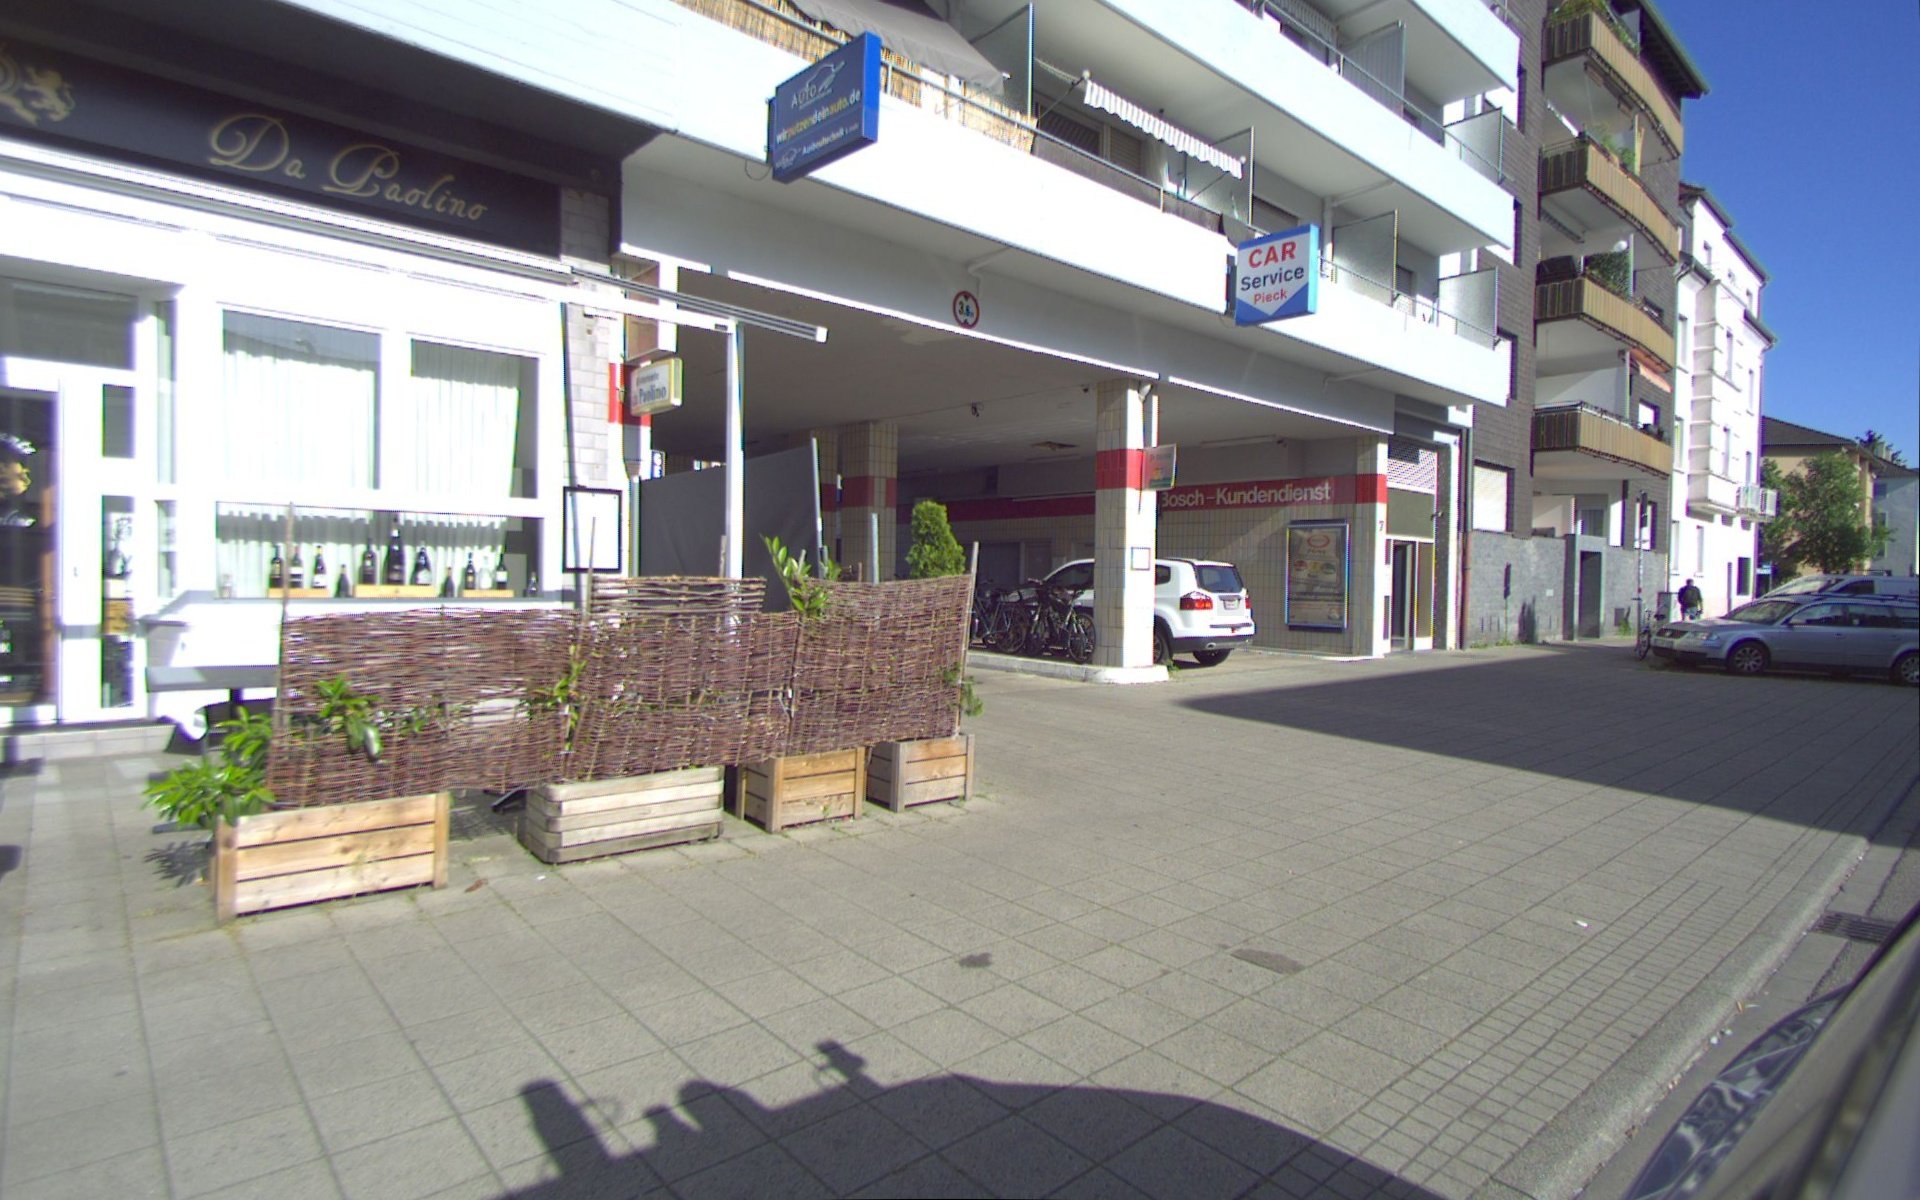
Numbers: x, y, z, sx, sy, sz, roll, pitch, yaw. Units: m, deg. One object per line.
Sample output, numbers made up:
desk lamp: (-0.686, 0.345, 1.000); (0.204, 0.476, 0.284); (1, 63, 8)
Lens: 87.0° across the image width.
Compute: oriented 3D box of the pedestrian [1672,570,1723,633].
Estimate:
pedestrian: (19.493, 0.022, 26.759); (0.872, 1.613, 0.835); (0, 2, -37)

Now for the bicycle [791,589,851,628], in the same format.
bicycle: (-2.542, 0.152, 18.560); (1.060, 0.673, 0.323); (0, 2, -40)

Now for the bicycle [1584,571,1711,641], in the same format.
bicycle: (13.315, 0.118, 19.608); (2.214, 1.270, 0.708); (2, 0, -14)

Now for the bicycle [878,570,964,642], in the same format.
bicycle: (-0.657, 0.070, 16.587); (0.459, 1.122, 1.587); (-3, 3, -44)

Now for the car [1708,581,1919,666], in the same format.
car: (17.906, 0.451, 20.364); (4.248, 1.531, 1.756); (1, 2, 3)

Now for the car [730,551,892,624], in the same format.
car: (-3.477, -0.336, 23.127); (1.706, 1.494, 3.992); (-3, 4, -42)

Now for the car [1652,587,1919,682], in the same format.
car: (15.231, 0.580, 17.926); (4.566, 1.483, 1.689); (1, 3, 6)

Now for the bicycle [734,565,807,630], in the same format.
bicycle: (-3.792, -0.073, 20.124); (0.475, 1.175, 2.060); (-3, 4, -39)

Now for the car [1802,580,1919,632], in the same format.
car: (30.503, 0.249, 32.538); (4.802, 1.482, 1.965); (4, 2, 14)

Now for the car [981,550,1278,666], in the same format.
car: (2.548, 0.011, 16.071); (1.946, 1.531, 4.398); (-1, 3, -42)

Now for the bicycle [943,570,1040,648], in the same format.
bicycle: (0.457, 0.107, 15.404); (0.459, 1.122, 1.587); (-3, 3, -44)

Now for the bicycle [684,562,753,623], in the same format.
bicycle: (-5.228, -0.172, 21.824); (0.561, 1.250, 2.088); (-3, 2, -40)

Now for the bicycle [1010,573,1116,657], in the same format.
bicycle: (1.410, 0.181, 14.044); (0.458, 1.090, 1.569); (-3, 3, -41)

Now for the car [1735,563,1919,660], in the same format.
car: (20.583, 0.251, 22.750); (4.453, 1.920, 2.047); (2, 4, 8)
